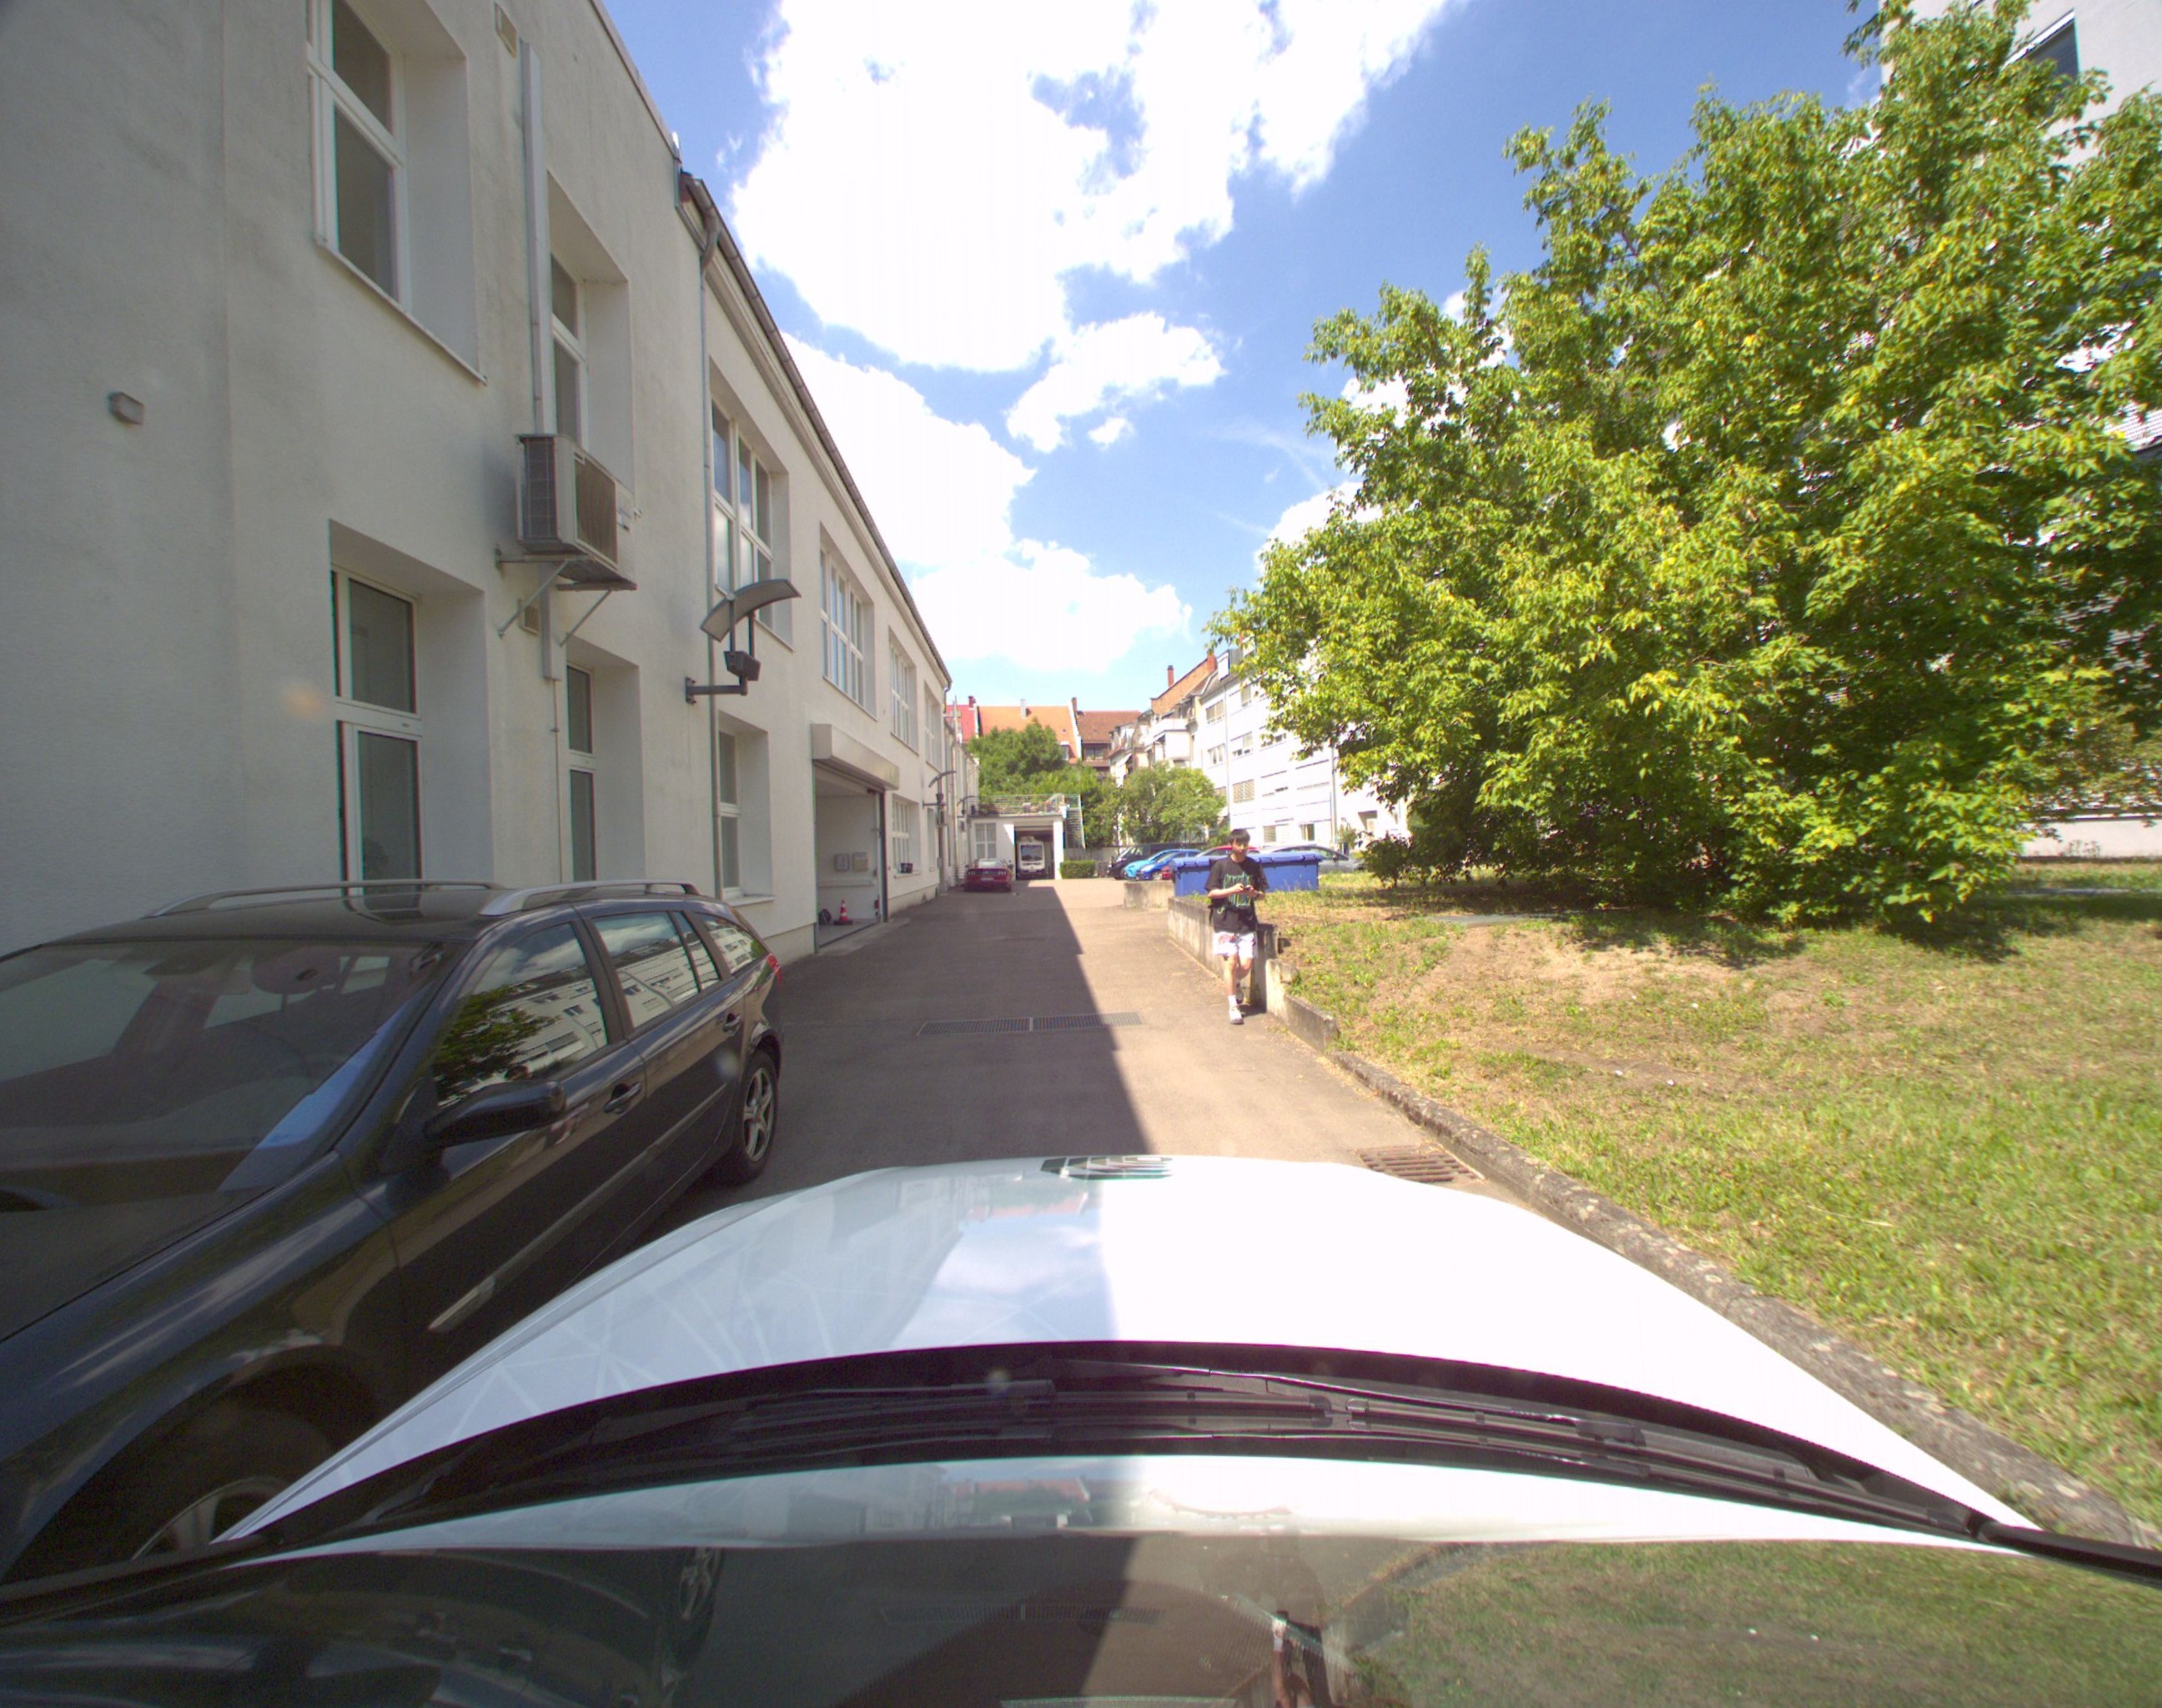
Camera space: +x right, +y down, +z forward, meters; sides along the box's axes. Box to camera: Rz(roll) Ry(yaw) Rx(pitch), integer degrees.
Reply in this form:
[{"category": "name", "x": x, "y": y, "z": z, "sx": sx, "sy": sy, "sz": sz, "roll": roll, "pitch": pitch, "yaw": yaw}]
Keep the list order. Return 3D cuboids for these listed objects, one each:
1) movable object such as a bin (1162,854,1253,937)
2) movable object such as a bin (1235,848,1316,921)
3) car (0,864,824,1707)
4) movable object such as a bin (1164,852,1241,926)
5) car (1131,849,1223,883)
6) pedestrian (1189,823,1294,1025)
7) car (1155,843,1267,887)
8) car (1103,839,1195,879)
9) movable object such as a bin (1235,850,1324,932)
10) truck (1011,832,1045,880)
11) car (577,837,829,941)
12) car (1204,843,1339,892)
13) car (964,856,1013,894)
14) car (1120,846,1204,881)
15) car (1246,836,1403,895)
[{"category": "movable object such as a bin", "x": 2.165, "y": 0.689, "z": 14.175, "sx": 1.335, "sy": 1.326, "sz": 1.160, "roll": -3, "pitch": 0, "yaw": -1}, {"category": "movable object such as a bin", "x": 3.803, "y": 0.582, "z": 16.027, "sx": 1.214, "sy": 1.326, "sz": 1.158, "roll": -3, "pitch": 0, "yaw": -5}, {"category": "car", "x": -2.331, "y": 0.824, "z": 2.664, "sx": 1.751, "sy": 1.430, "sz": 4.381, "roll": -2, "pitch": 0, "yaw": -3}, {"category": "movable object such as a bin", "x": 2.354, "y": 0.660, "z": 15.945, "sx": 1.191, "sy": 1.326, "sz": 1.158, "roll": -3, "pitch": 0, "yaw": -5}, {"category": "car", "x": 4.515, "y": 0.557, "z": 38.565, "sx": 3.981, "sy": 1.390, "sz": 1.801, "roll": -3, "pitch": 0, "yaw": -5}, {"category": "pedestrian", "x": 1.471, "y": 0.612, "z": 7.572, "sx": 0.755, "sy": 1.755, "sz": 0.751, "roll": -2, "pitch": 0, "yaw": -3}, {"category": "car", "x": 5.047, "y": 0.416, "z": 31.954, "sx": 3.981, "sy": 1.478, "sz": 1.801, "roll": -3, "pitch": 0, "yaw": -5}, {"category": "car", "x": 3.660, "y": 0.257, "z": 44.535, "sx": 4.671, "sy": 1.958, "sz": 2.073, "roll": -3, "pitch": 0, "yaw": -5}, {"category": "movable object such as a bin", "x": 3.453, "y": 0.619, "z": 14.285, "sx": 1.213, "sy": 1.326, "sz": 1.160, "roll": -3, "pitch": 0, "yaw": -1}, {"category": "truck", "x": -3.493, "y": 0.141, "z": 53.101, "sx": 1.787, "sy": 2.937, "sz": 4.639, "roll": -2, "pitch": 0, "yaw": -8}, {"category": "car", "x": -8.038, "y": 0.711, "z": 17.683, "sx": 4.469, "sy": 2.025, "sz": 1.979, "roll": -1, "pitch": 0, "yaw": -3}, {"category": "car", "x": 6.315, "y": 0.437, "z": 27.246, "sx": 3.981, "sy": 1.390, "sz": 1.801, "roll": -3, "pitch": 0, "yaw": -5}, {"category": "car", "x": -3.778, "y": 0.832, "z": 33.930, "sx": 1.795, "sy": 1.390, "sz": 3.994, "roll": -3, "pitch": 0, "yaw": -4}, {"category": "car", "x": 4.088, "y": 0.475, "z": 41.519, "sx": 3.981, "sy": 1.534, "sz": 1.801, "roll": -3, "pitch": 0, "yaw": -5}, {"category": "car", "x": 7.040, "y": 0.317, "z": 23.778, "sx": 3.981, "sy": 1.478, "sz": 1.801, "roll": -3, "pitch": 0, "yaw": -5}]
